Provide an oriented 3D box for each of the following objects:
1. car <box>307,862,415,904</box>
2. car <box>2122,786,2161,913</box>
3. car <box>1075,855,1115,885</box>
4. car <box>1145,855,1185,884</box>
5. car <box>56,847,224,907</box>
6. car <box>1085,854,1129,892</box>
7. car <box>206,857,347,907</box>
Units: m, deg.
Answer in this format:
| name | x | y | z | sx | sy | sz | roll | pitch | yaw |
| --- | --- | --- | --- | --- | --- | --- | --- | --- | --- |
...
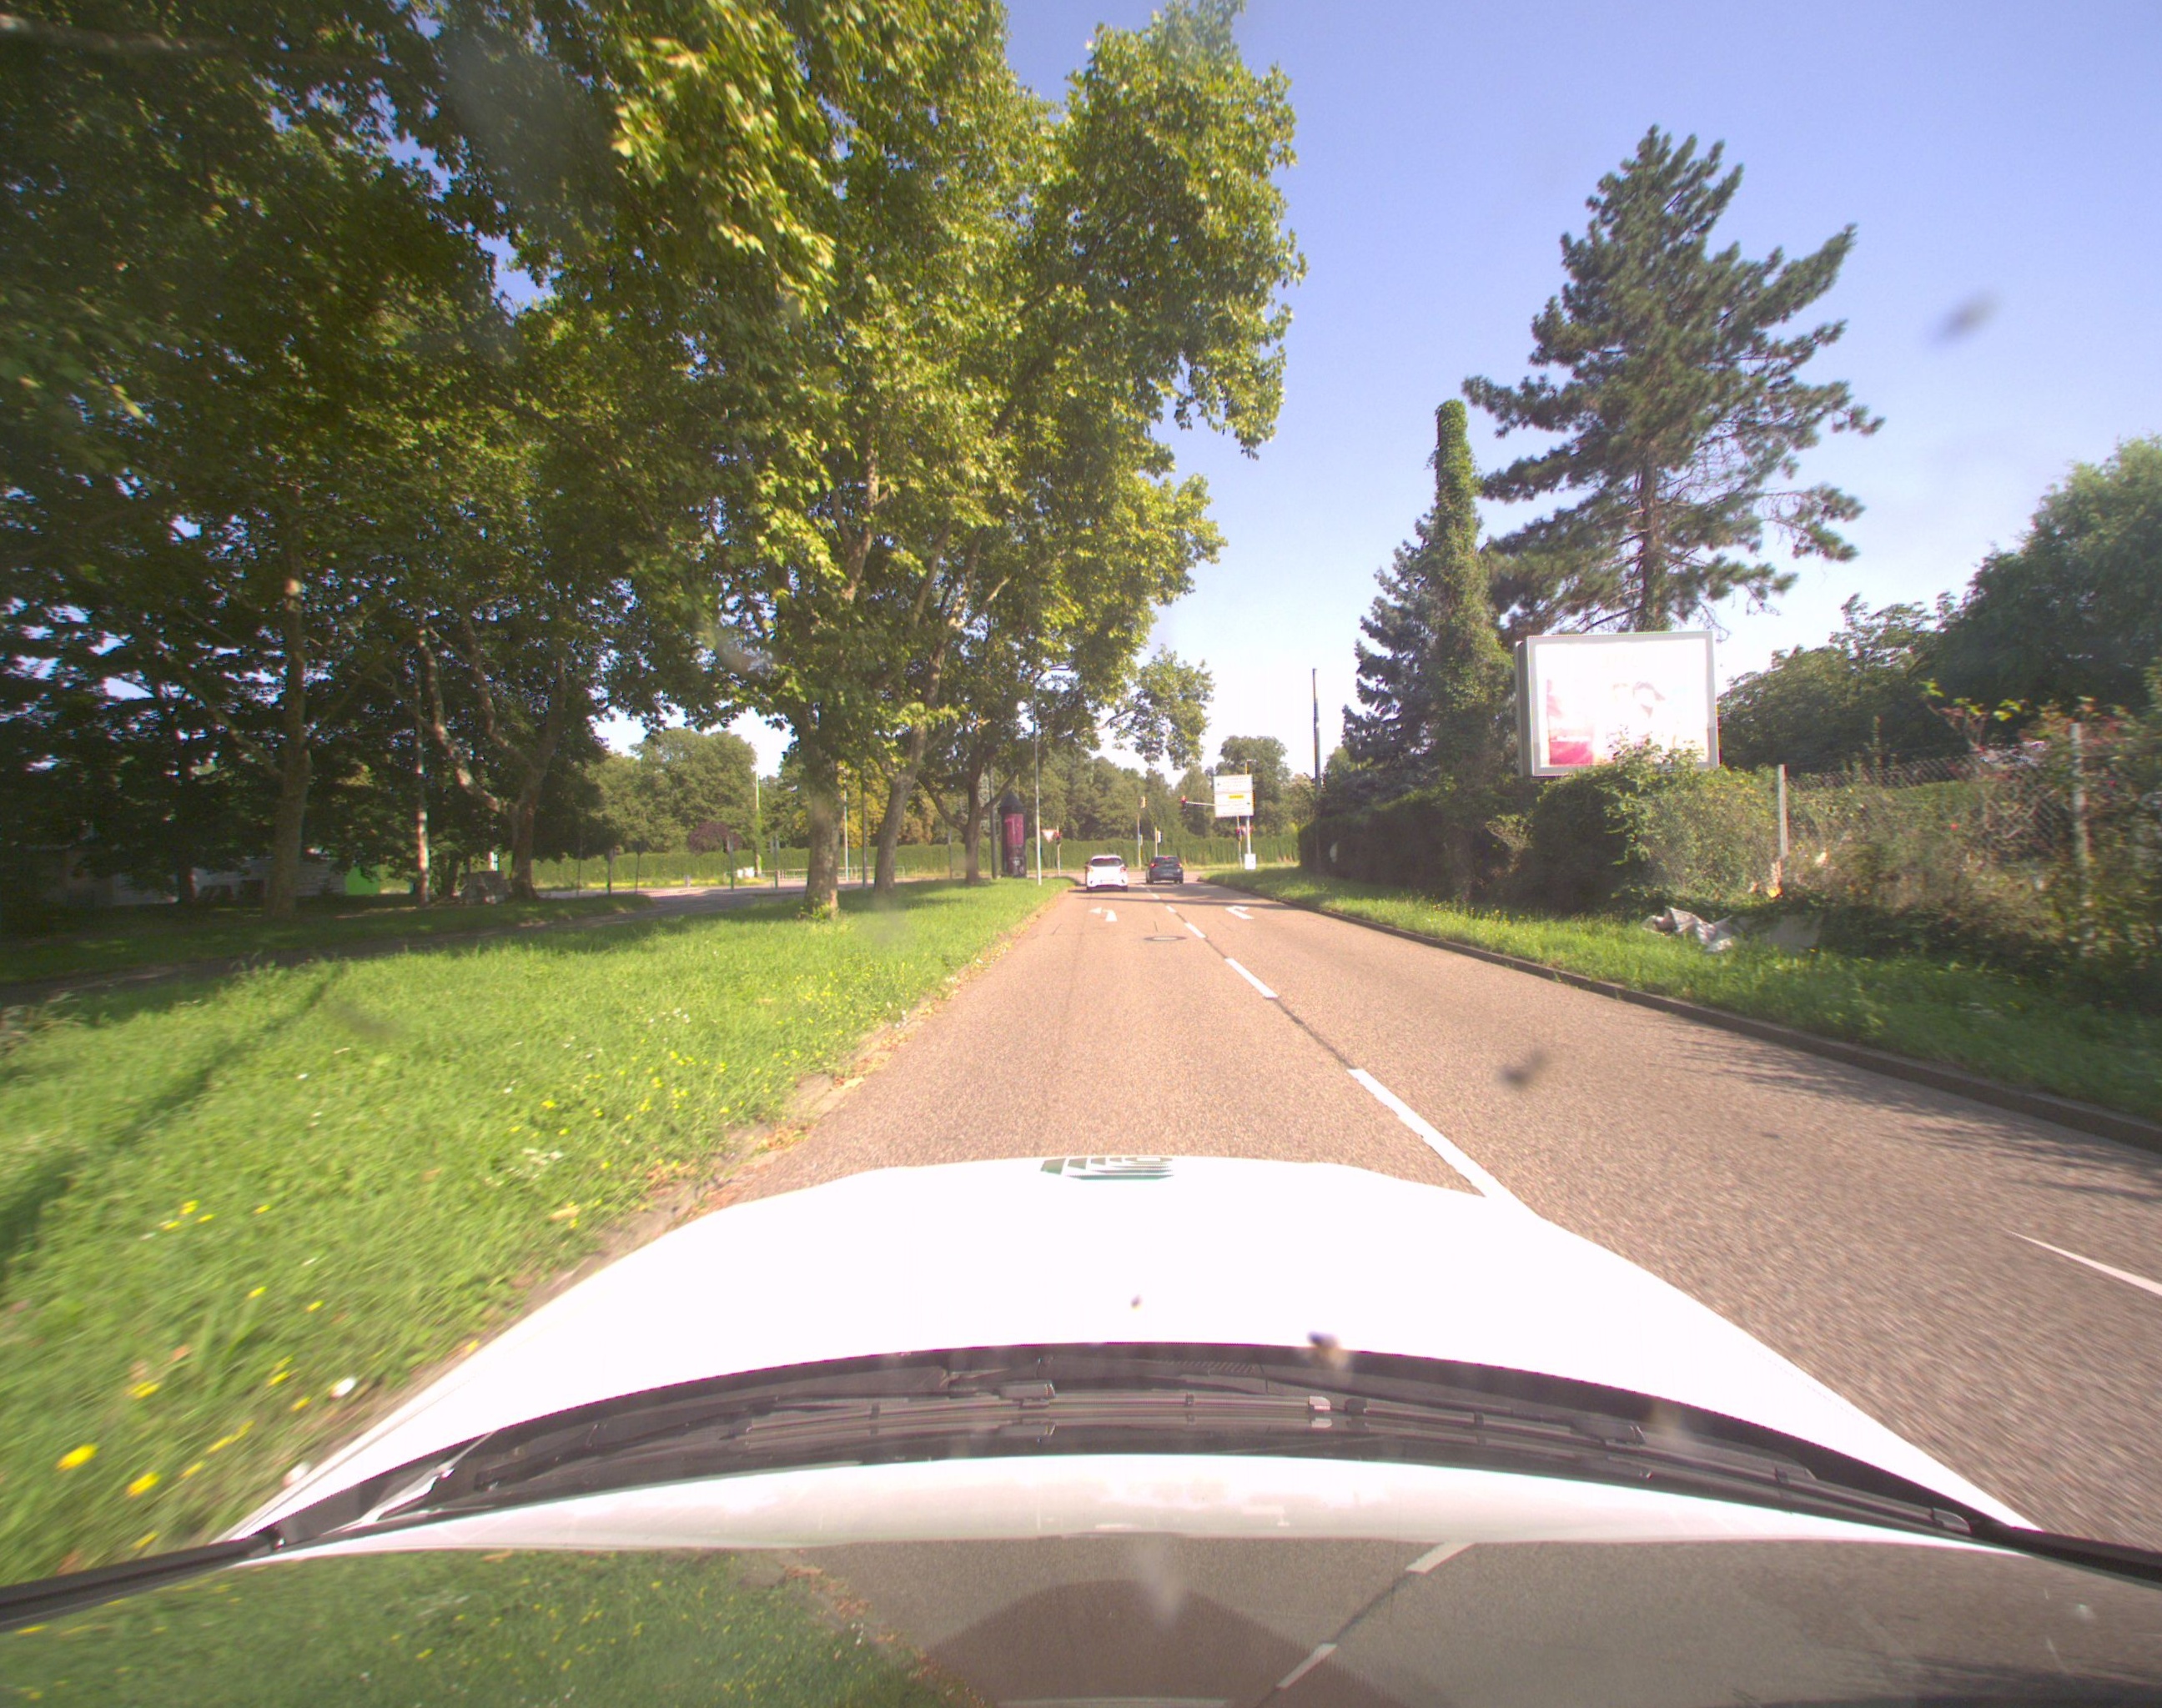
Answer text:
| name | x | y | z | sx | sy | sz | roll | pitch | yaw |
| --- | --- | --- | --- | --- | --- | --- | --- | --- | --- |
| car | -42.813 | 1.669 | 48.626 | 2.026 | 2.263 | 5.117 | -1 | 0 | -3 |
| car | 17.321 | -0.096 | 10.501 | 1.741 | 1.924 | 4.664 | -1 | 0 | -2 |
| car | 0.787 | 0.791 | 42.135 | 1.679 | 1.462 | 3.856 | -1 | 0 | 6 |
| car | 4.351 | 0.765 | 42.660 | 1.791 | 1.401 | 4.001 | -1 | 0 | 2 |
| car | -42.153 | 0.969 | 36.697 | 2.173 | 2.440 | 4.705 | -2 | 0 | -3 |
| car | 1.147 | 0.746 | 34.271 | 1.680 | 1.462 | 4.003 | -1 | 0 | 3 |
| car | -38.493 | 1.275 | 39.173 | 2.173 | 2.137 | 4.705 | -2 | 0 | -3 |
